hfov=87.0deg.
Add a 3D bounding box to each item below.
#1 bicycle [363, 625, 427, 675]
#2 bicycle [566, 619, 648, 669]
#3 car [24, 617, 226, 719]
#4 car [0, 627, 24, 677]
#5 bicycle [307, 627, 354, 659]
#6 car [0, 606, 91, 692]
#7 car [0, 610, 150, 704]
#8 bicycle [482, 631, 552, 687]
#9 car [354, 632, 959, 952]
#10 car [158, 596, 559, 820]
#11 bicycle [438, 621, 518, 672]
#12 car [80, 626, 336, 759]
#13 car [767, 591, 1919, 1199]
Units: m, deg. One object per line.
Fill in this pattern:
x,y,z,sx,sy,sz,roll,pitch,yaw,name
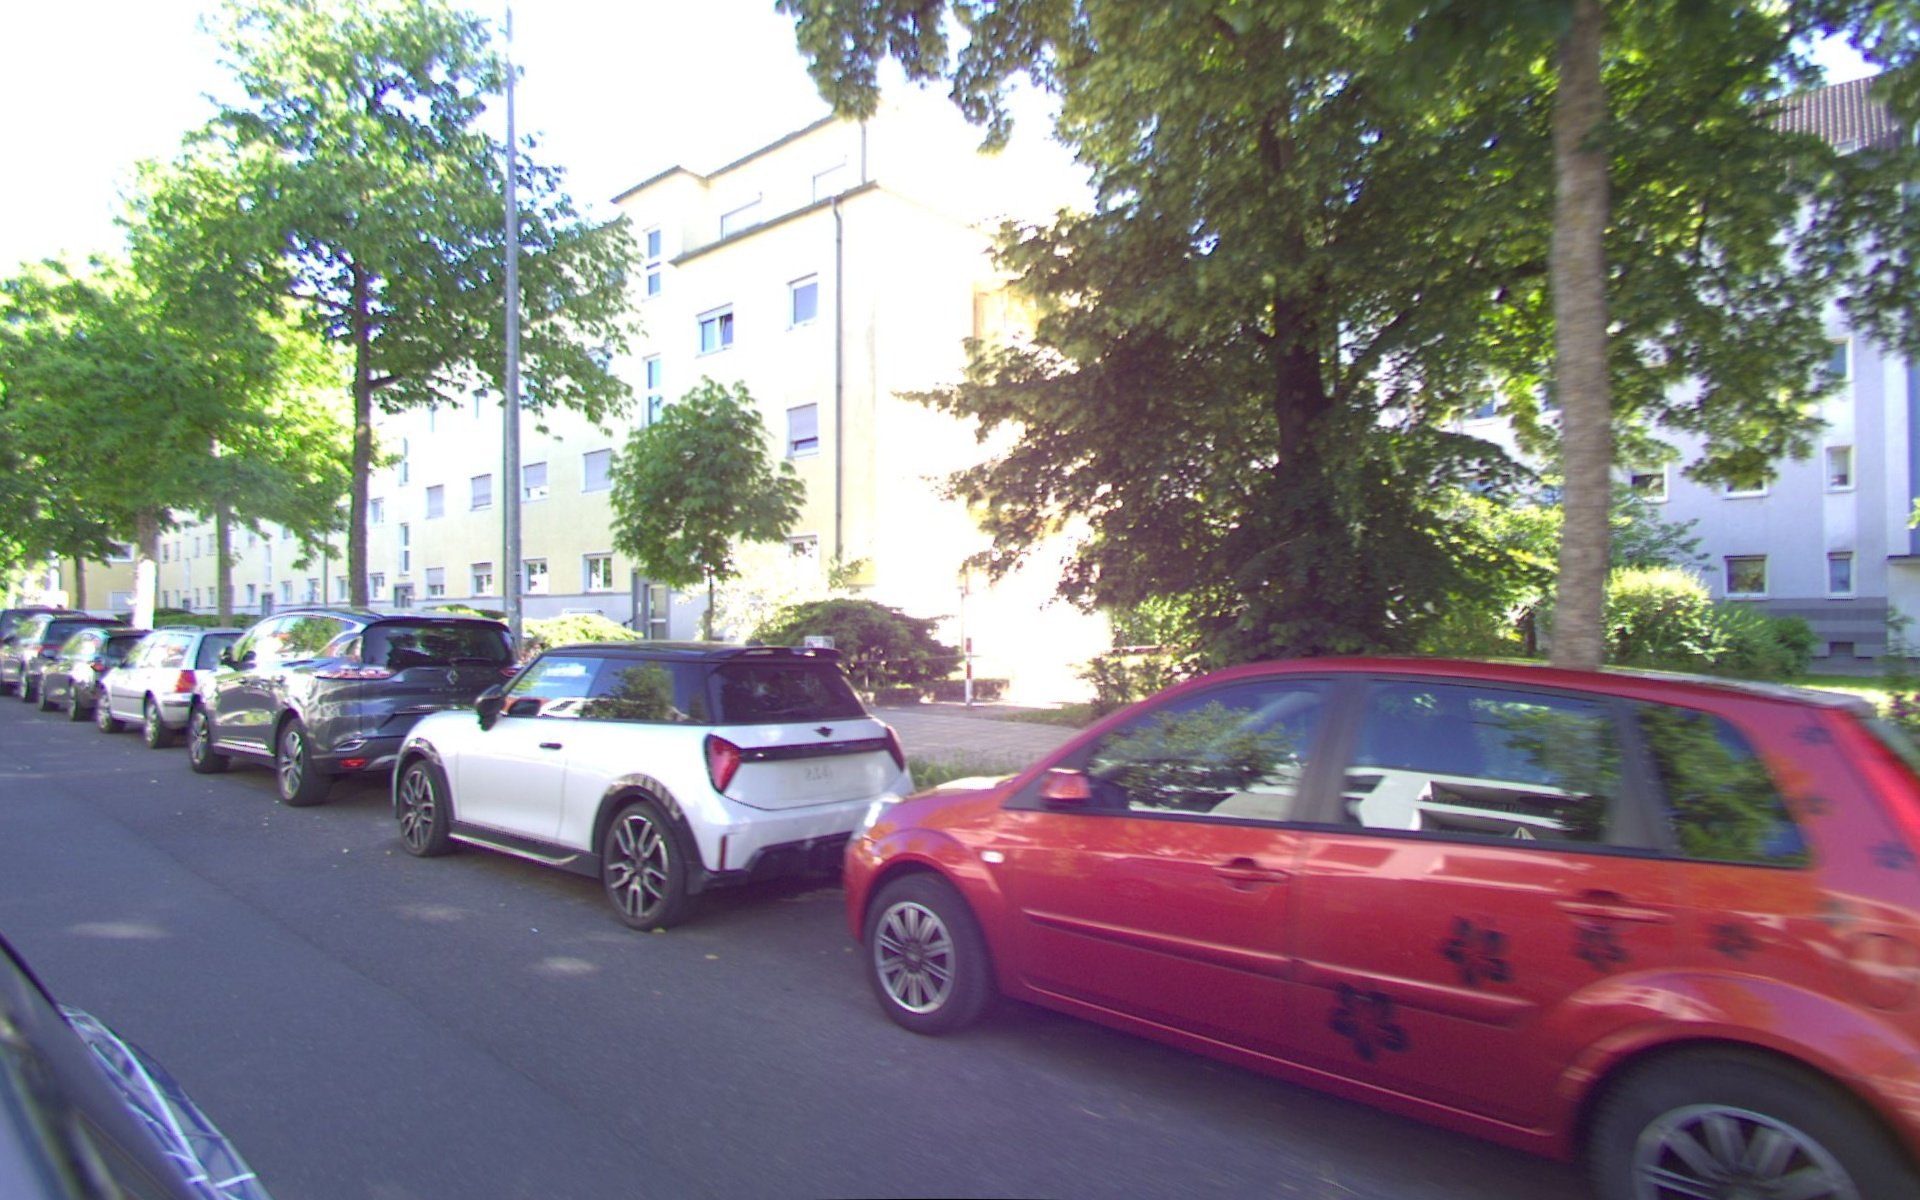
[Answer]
-14.078,1.214,25.190,2.259,1.199,0.589,-1,-2,40,bicycle
-9.278,1.131,26.685,0.776,1.235,1.933,-1,-1,38,bicycle
-13.857,1.038,16.715,4.486,1.463,1.775,-1,-2,40,car
-30.191,1.548,30.997,4.061,1.482,1.757,-1,-4,41,car
-18.374,1.243,29.530,1.902,0.923,0.589,-1,-2,40,bicycle
-22.237,1.121,23.966,4.863,1.864,1.775,-1,-2,41,car
-18.171,1.095,20.441,4.520,1.699,1.777,-1,-2,38,car
-9.105,1.183,20.766,1.932,1.069,0.566,-1,-1,42,bicycle
-2.131,0.906,6.431,4.185,1.384,1.637,-1,-2,40,car
-6.084,0.870,9.927,5.084,1.669,1.823,-1,-2,40,car
-12.359,1.178,25.978,0.517,1.235,1.802,-1,-1,41,bicycle
-10.065,1.093,13.422,4.485,1.492,1.689,-1,-2,40,car
1.284,0.784,3.534,4.065,1.516,1.637,-1,-2,40,car
